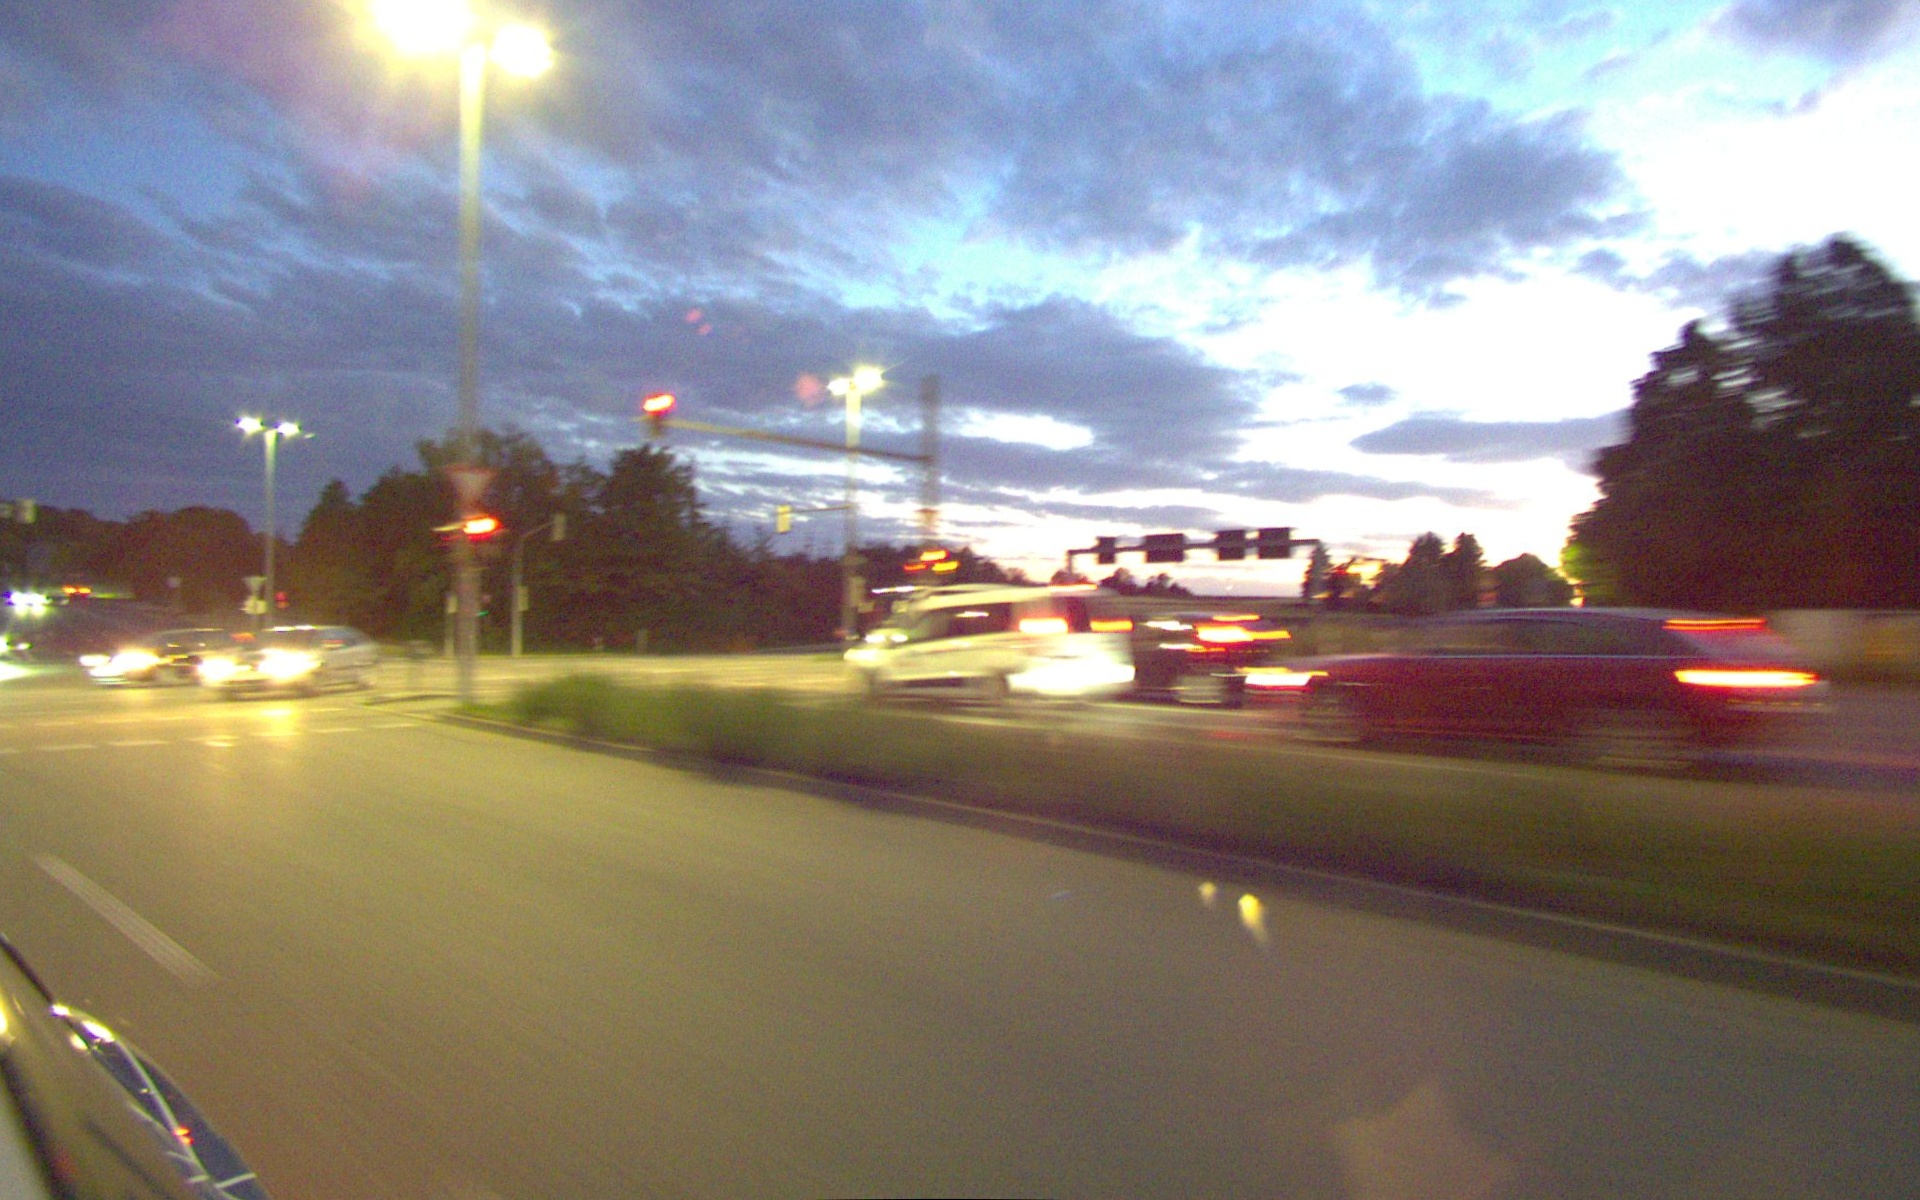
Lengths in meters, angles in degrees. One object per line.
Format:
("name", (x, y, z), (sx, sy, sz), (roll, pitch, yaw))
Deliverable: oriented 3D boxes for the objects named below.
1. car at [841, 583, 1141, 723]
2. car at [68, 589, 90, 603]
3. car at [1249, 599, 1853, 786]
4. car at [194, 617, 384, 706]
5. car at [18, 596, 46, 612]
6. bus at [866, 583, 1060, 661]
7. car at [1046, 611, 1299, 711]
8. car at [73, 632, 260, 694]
("car", (0.302, 0.783, 15.645), (1.821, 1.828, 4.780), (1, -3, -42))
("car", (-112.757, -0.525, 129.518), (4.061, 1.584, 1.715), (1, 2, 44))
("car", (5.529, 0.768, 10.046), (1.849, 1.408, 4.842), (1, -2, -43))
("car", (-14.221, 1.283, 21.775), (1.645, 1.666, 4.418), (-1, -2, -8))
("car", (-97.282, 0.430, 106.153), (1.671, 1.608, 3.934), (0, -3, -35))
("bus", (0.473, 1.194, 54.681), (2.617, 3.819, 12.095), (-4, -3, 45))
("car", (3.410, 0.959, 16.721), (1.748, 1.458, 3.785), (1, -3, -42))
("car", (-20.891, 1.619, 26.849), (1.653, 1.492, 3.763), (-1, -2, 10))
